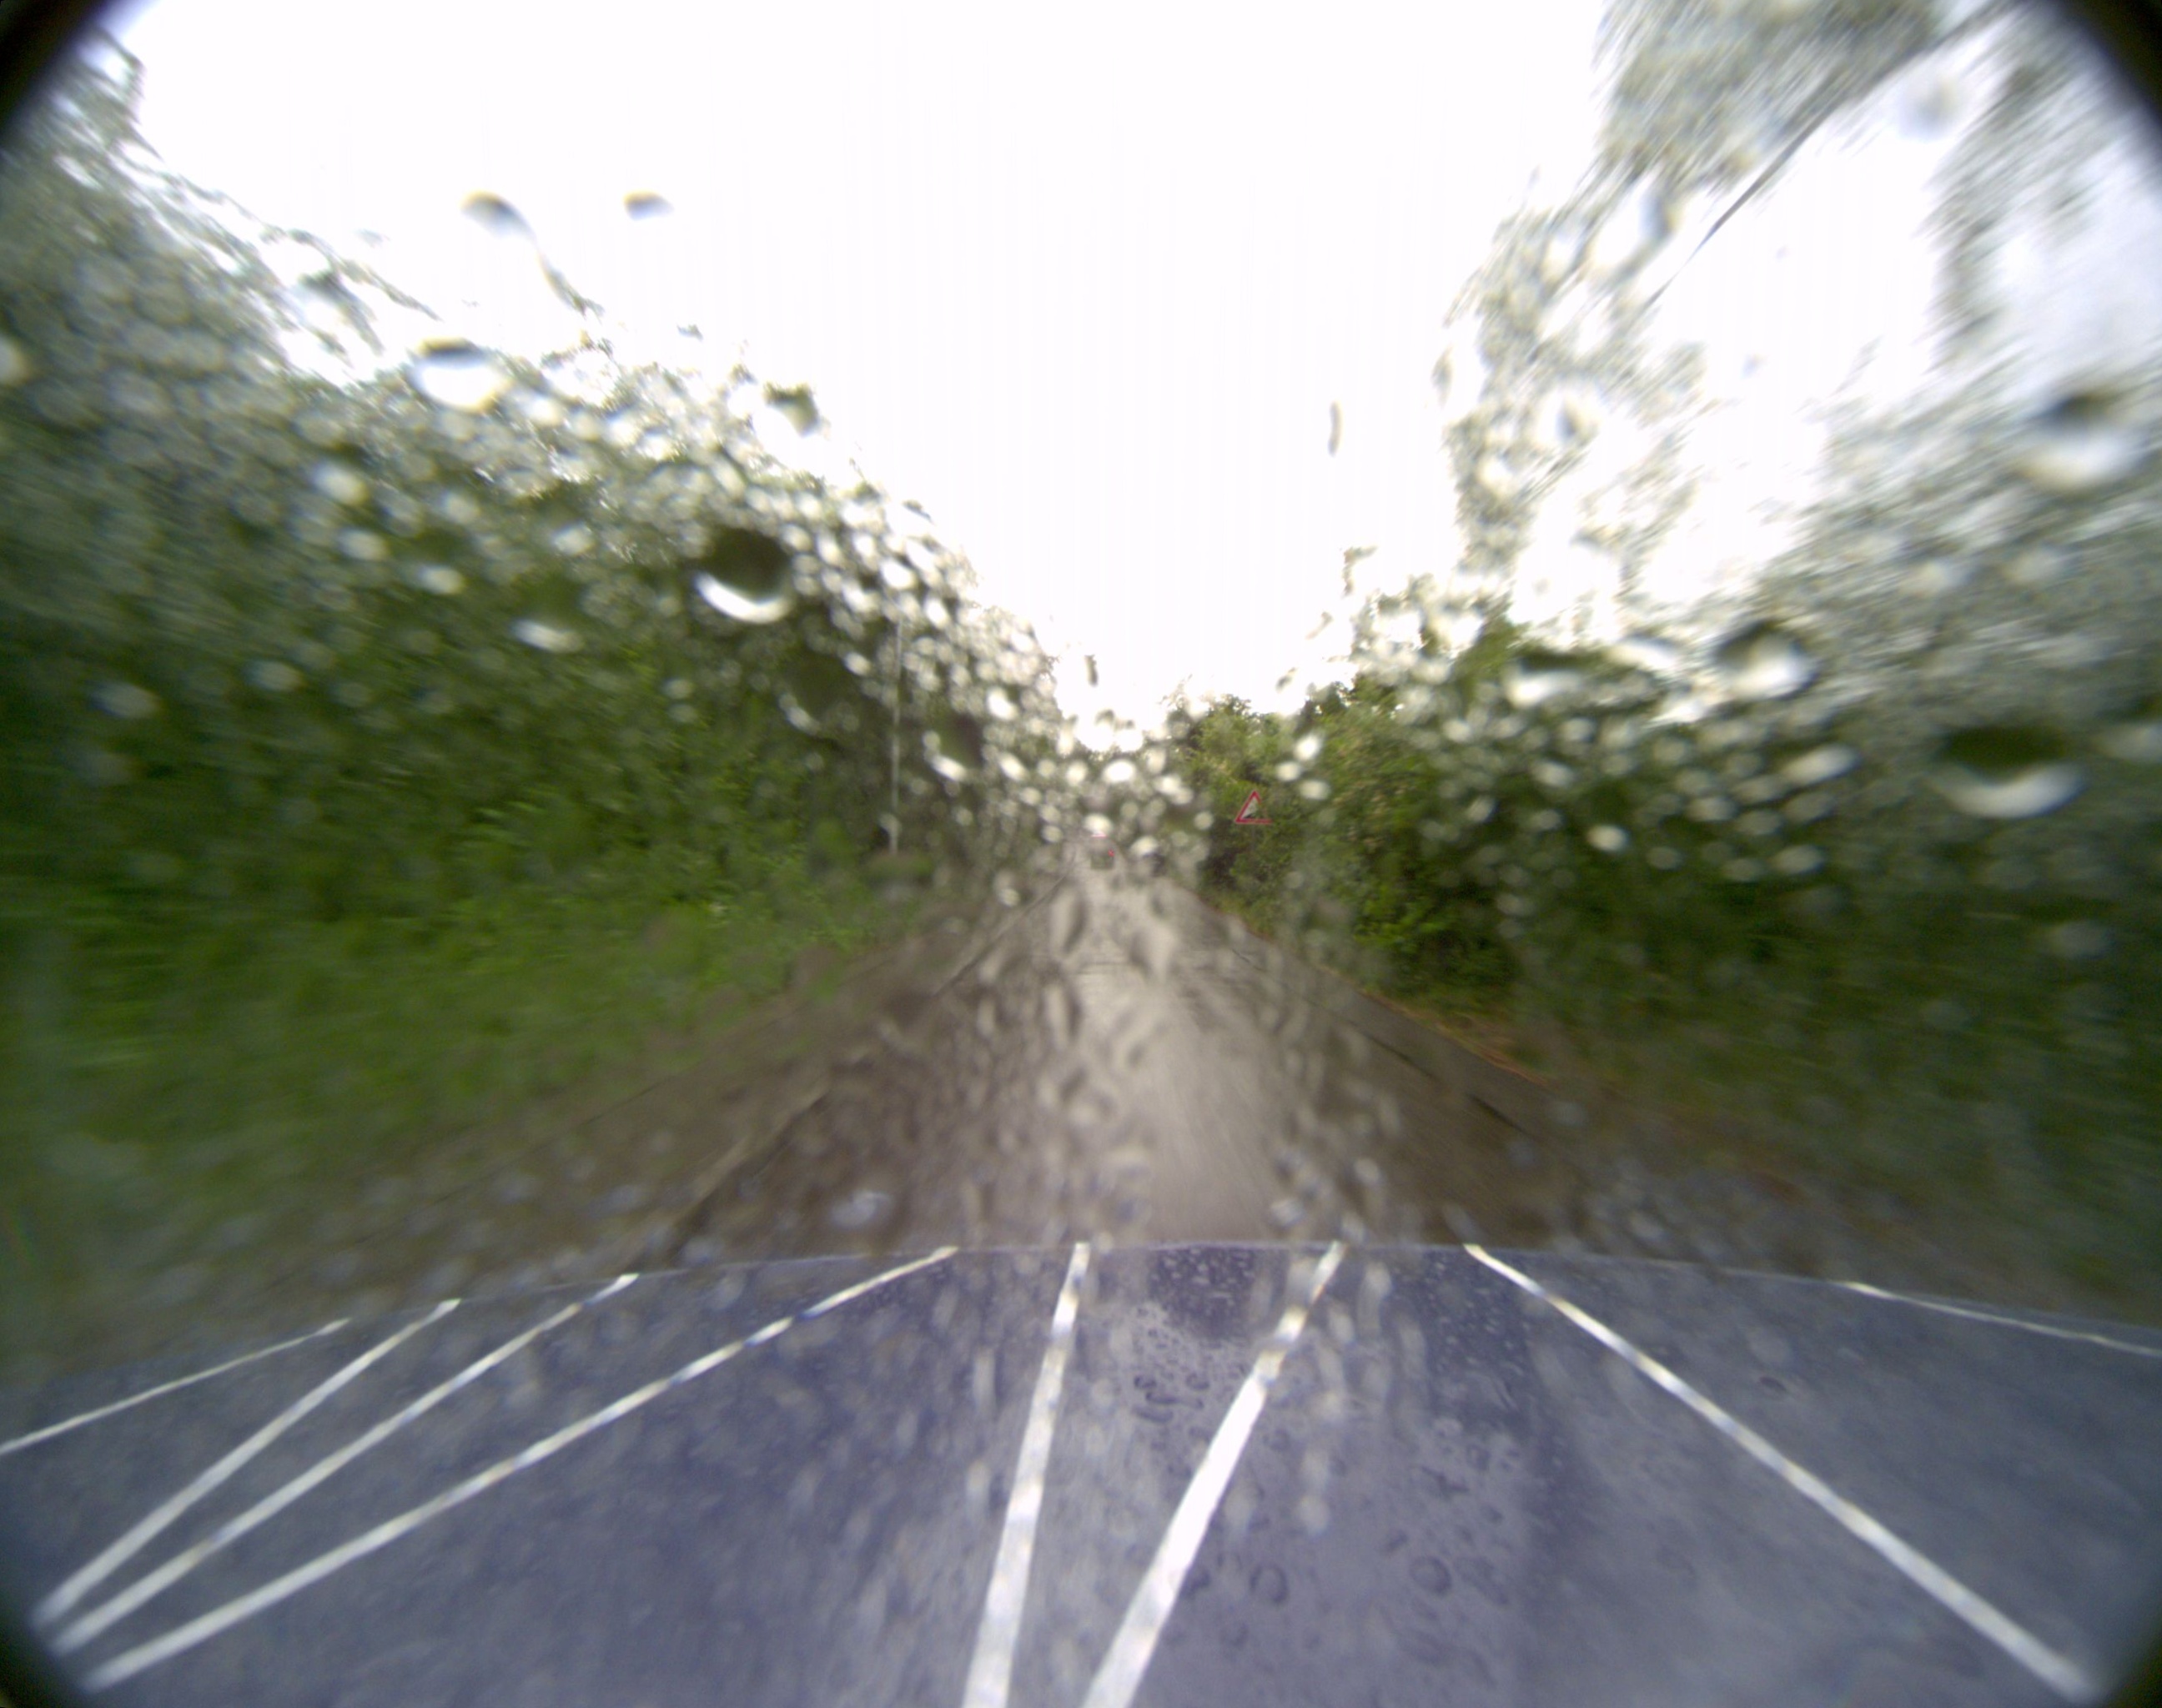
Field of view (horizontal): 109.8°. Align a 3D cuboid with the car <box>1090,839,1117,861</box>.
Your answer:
[{"bbox_3d":[1.756,-0.345,60.778,1.927,1.611,4.462,-2,0,0],"label":"car"}]

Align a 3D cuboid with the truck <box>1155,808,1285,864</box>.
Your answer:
[{"bbox_3d":[9.767,-1.178,54.431,2.773,3.694,9.226,-3,2,-43],"label":"truck"}]

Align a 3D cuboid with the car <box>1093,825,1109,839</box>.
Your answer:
[{"bbox_3d":[2.588,-2.837,99.257,1.960,1.608,4.679,-2,1,0],"label":"car"}]

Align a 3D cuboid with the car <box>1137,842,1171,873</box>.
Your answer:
[{"bbox_3d":[4.420,0.170,46.387,1.690,1.717,4.068,1,1,1],"label":"car"}]
